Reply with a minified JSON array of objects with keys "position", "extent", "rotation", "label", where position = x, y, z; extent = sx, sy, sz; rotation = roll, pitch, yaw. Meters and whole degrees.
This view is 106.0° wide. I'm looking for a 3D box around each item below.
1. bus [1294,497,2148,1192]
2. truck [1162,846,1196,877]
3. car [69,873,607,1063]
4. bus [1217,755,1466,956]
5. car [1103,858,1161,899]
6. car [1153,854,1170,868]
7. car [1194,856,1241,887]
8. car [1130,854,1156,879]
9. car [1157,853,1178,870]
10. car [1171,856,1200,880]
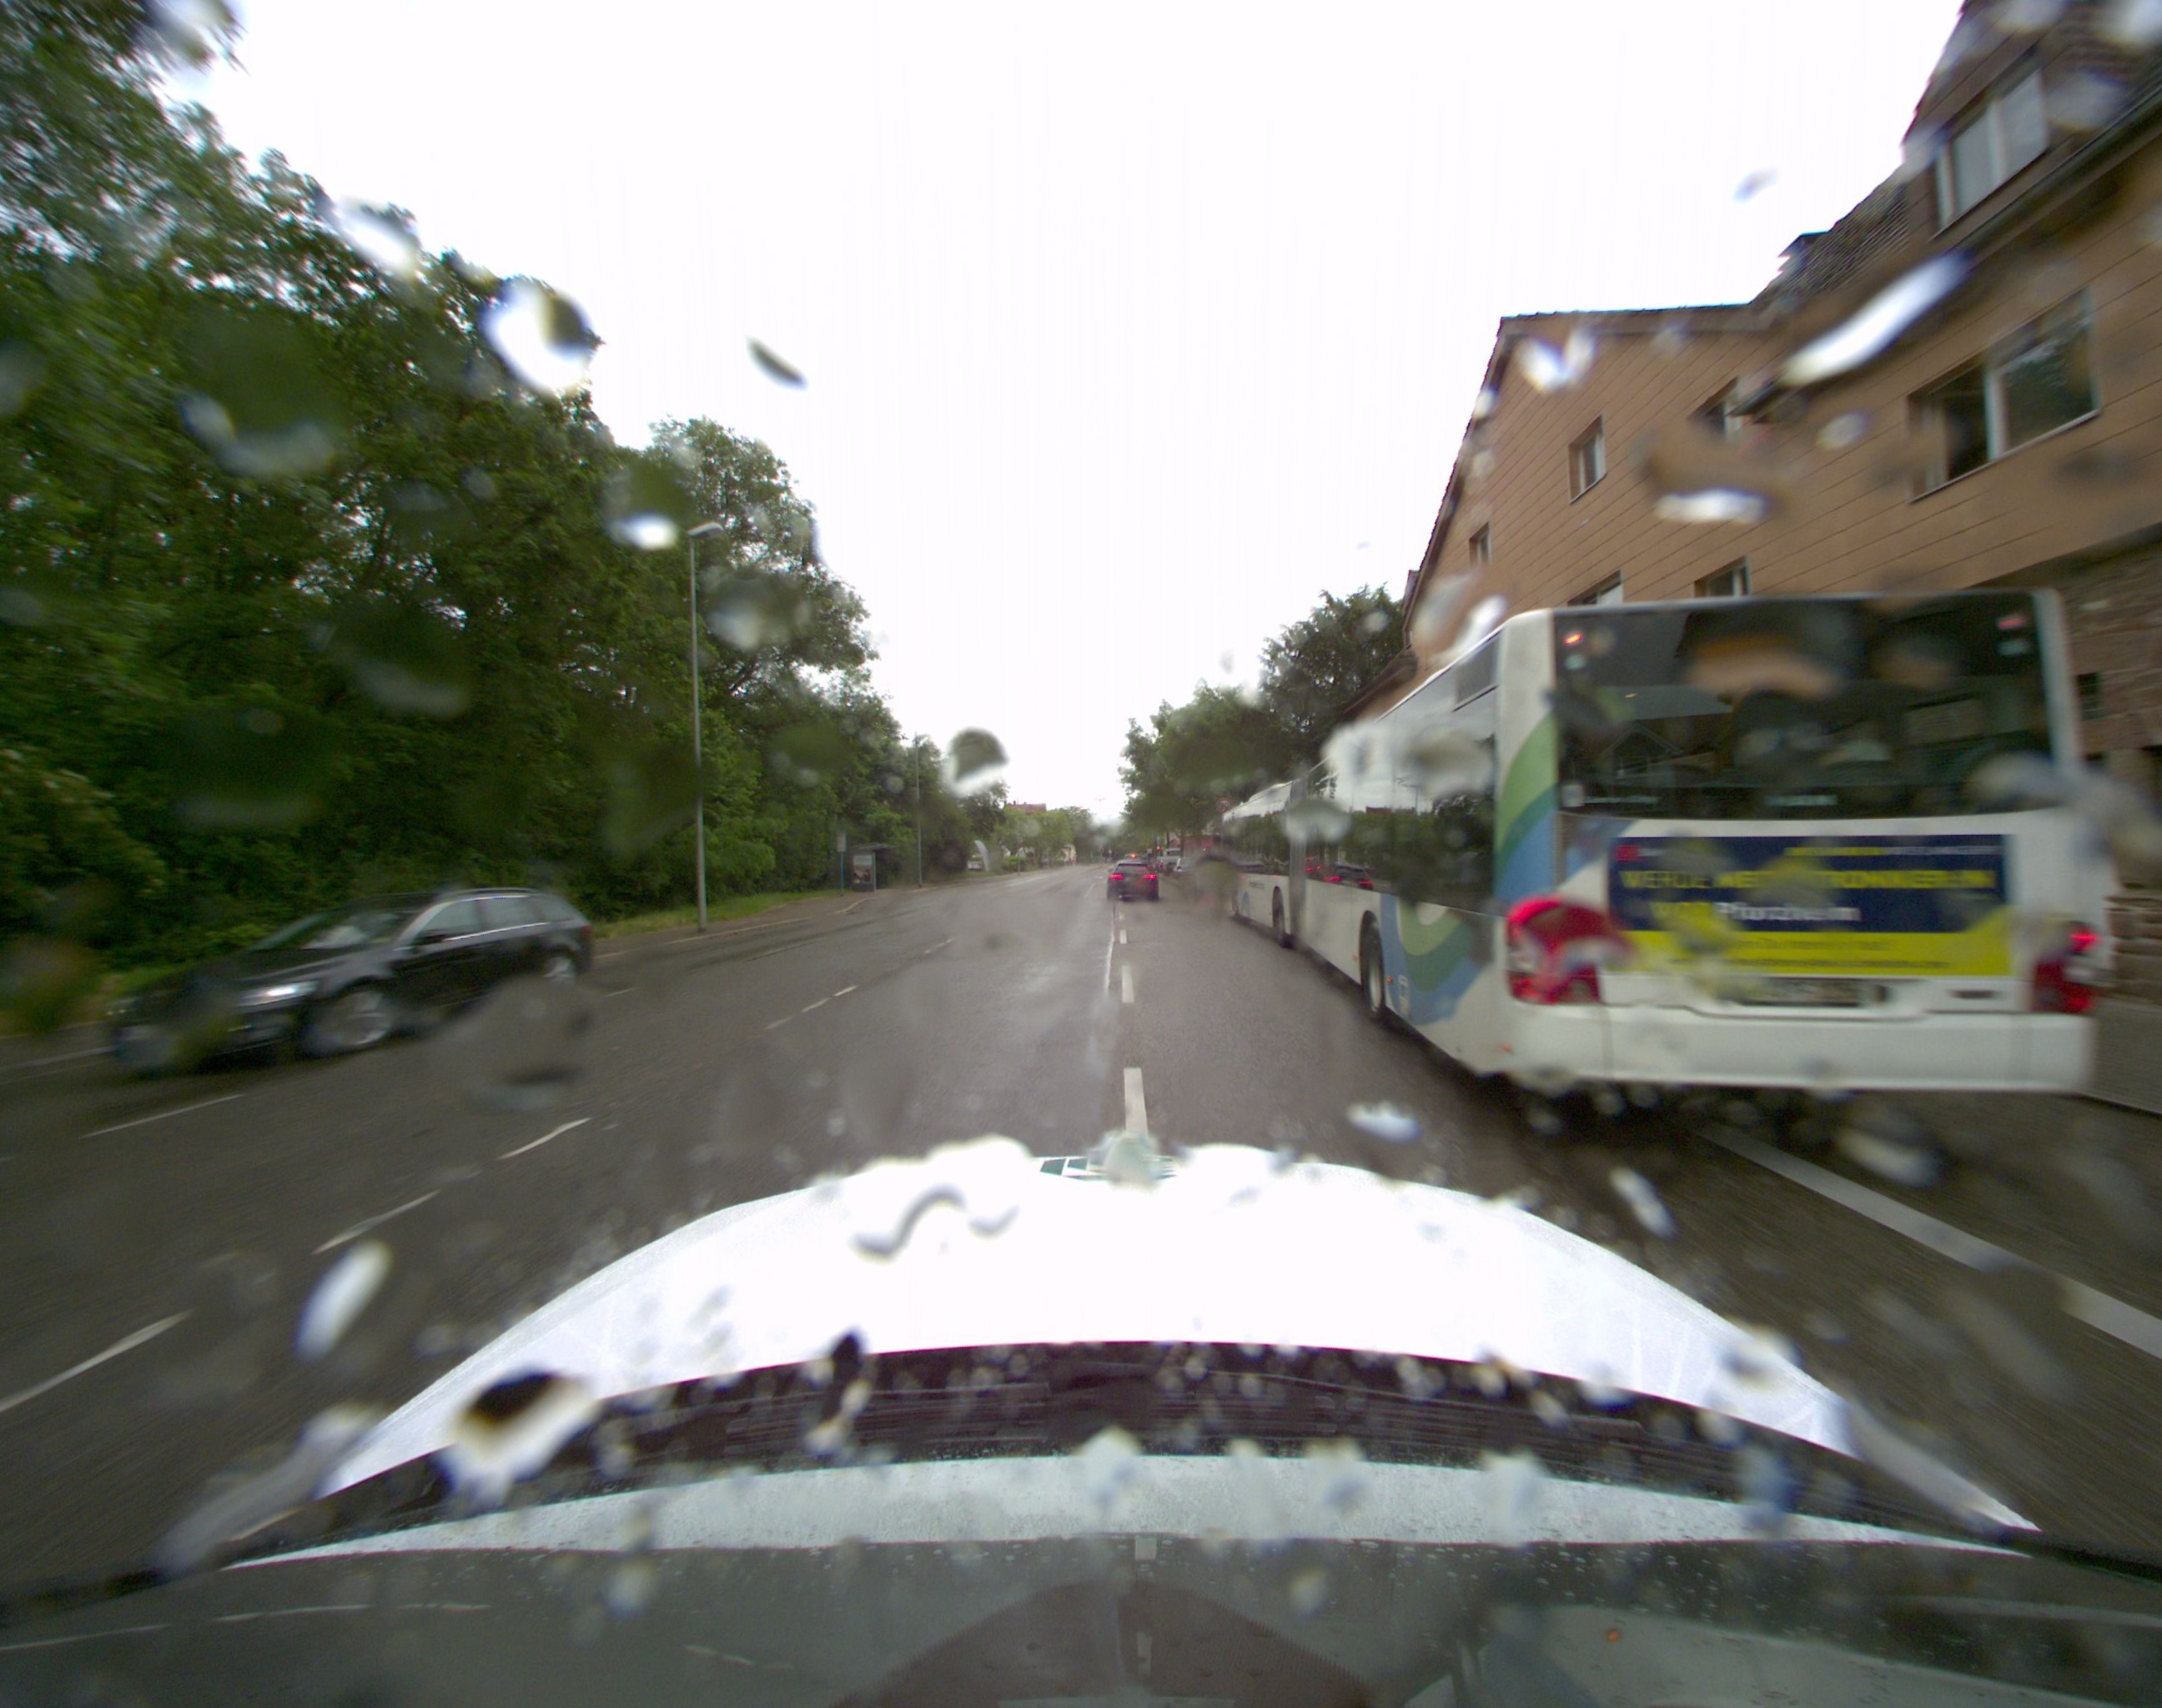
[{"position":[3.863,-0.004,7.871],"extent":[2.541,2.959,8.577],"rotation":[-1,-1,8],"label":"bus"},{"position":[7.643,0.603,64.205],"extent":[2.072,2.221,6.505],"rotation":[-4,-1,2],"label":"truck"},{"position":[-7.424,0.997,8.923],"extent":[1.737,1.432,4.390],"rotation":[-3,-1,2],"label":"car"},{"position":[4.652,0.072,16.806],"extent":[2.546,2.959,9.456],"rotation":[0,-1,3],"label":"bus"},{"position":[1.902,0.919,31.414],"extent":[2.056,1.446,4.485],"rotation":[0,-1,2],"label":"car"},{"position":[9.097,0.791,92.302],"extent":[1.578,1.491,3.629],"rotation":[-2,0,2],"label":"car"},{"position":[6.795,0.850,40.910],"extent":[1.681,1.389,4.502],"rotation":[-2,-1,2],"label":"car"},{"position":[4.648,0.948,61.522],"extent":[1.777,1.817,4.002],"rotation":[0,-1,2],"label":"car"},{"position":[8.170,0.689,76.837],"extent":[1.707,1.499,4.187],"rotation":[-3,-1,4],"label":"car"},{"position":[6.926,0.914,54.465],"extent":[1.594,1.436,4.025],"rotation":[-4,-1,4],"label":"car"}]
